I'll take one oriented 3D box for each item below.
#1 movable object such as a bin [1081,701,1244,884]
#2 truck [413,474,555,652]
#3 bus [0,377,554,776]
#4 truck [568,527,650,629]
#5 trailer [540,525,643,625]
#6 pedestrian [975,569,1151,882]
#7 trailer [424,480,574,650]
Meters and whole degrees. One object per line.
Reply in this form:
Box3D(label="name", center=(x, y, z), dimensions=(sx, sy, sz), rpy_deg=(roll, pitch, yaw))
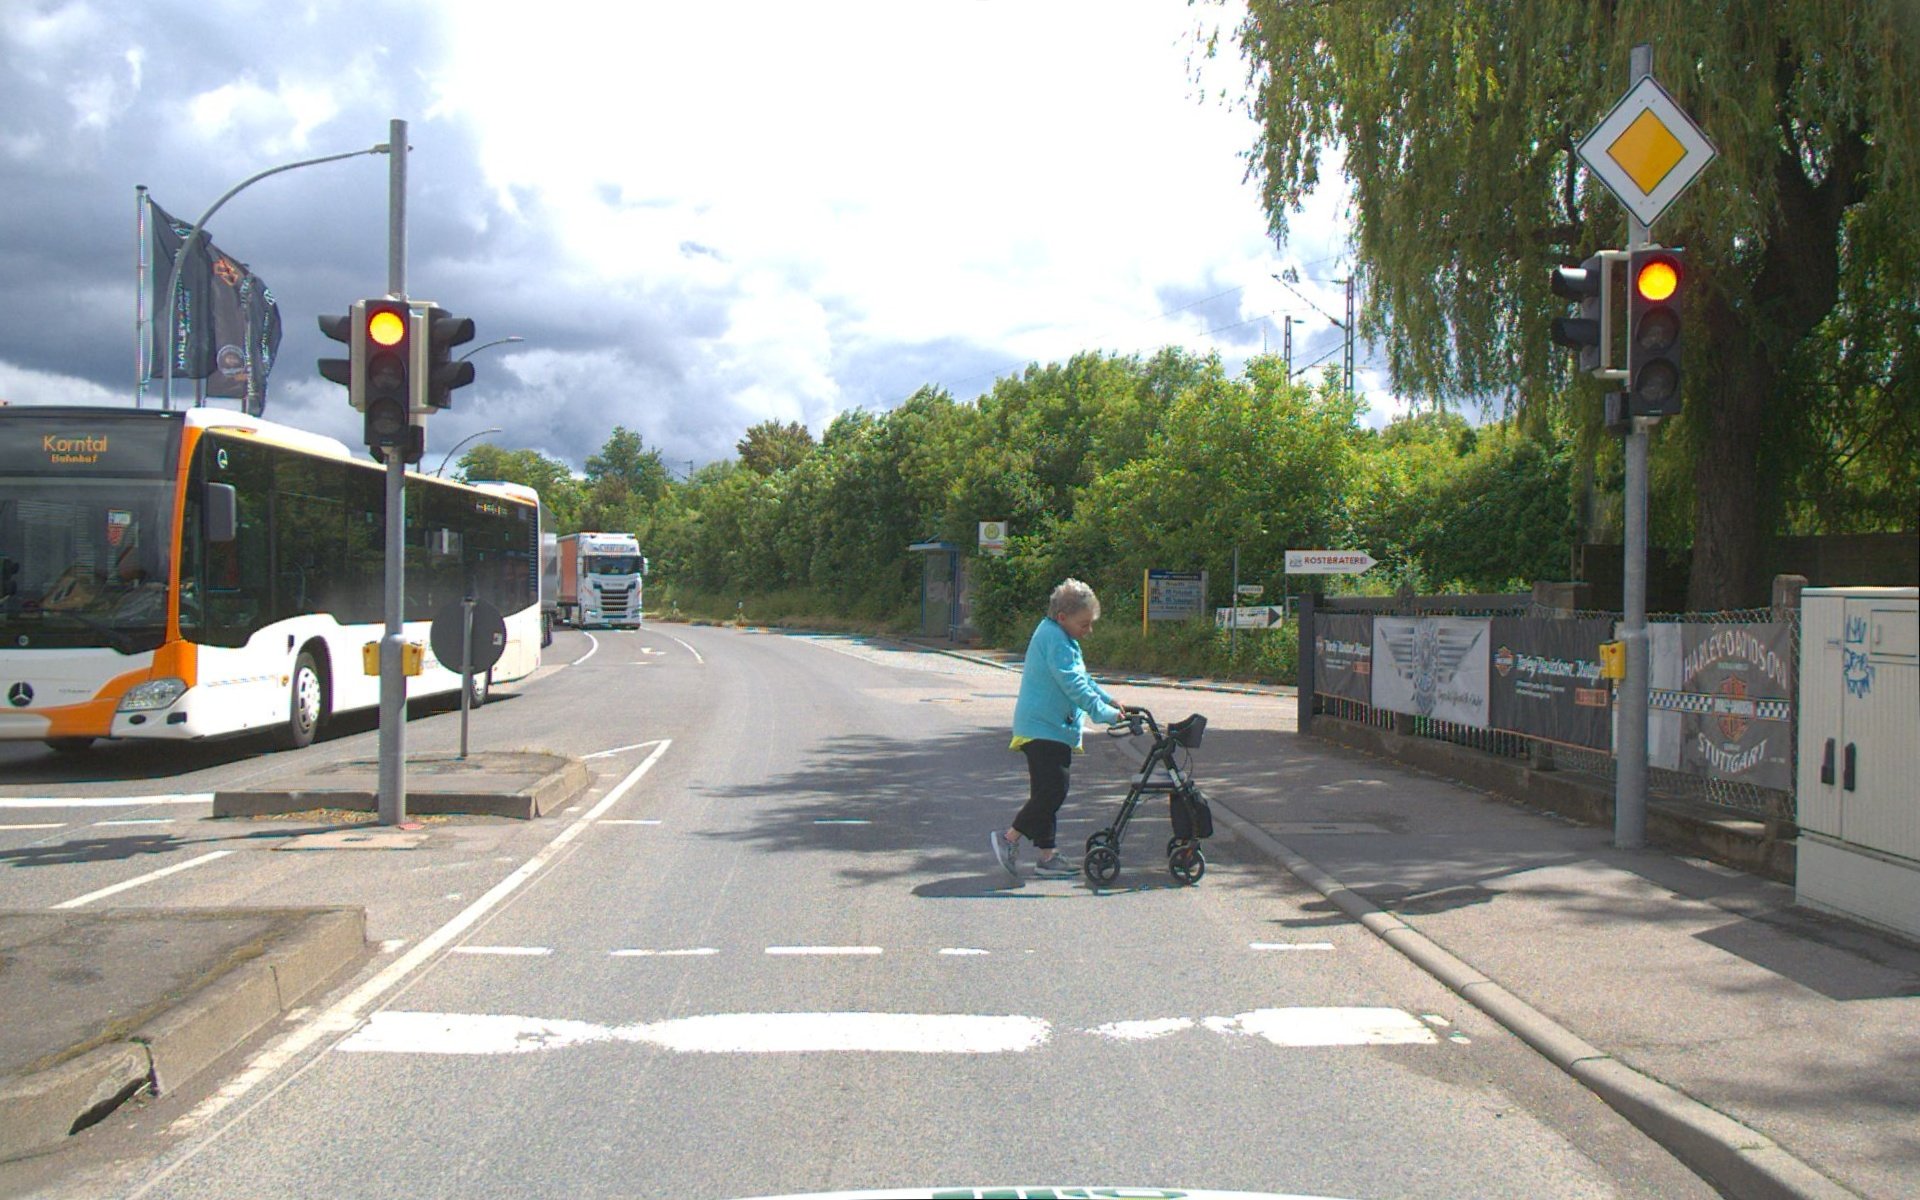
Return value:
Box3D(label="movable object such as a bin", center=(1.057, 0.999, 8.738), dimensions=(0.731, 0.887, 0.670), rpy_deg=(1, 0, -4))
Box3D(label="truck", center=(-11.946, -0.844, 41.988), dimensions=(2.748, 4.124, 6.484), rpy_deg=(1, 0, -10))
Box3D(label="bus", center=(-7.396, -0.159, 18.919), dimensions=(2.663, 3.084, 12.263), rpy_deg=(0, 0, -1))
Box3D(label="truck", center=(-15.161, -0.914, 71.280), dimensions=(2.731, 4.191, 4.956), rpy_deg=(1, 0, -20))
Box3D(label="trailer", center=(-17.557, -1.054, 77.867), dimensions=(2.730, 4.217, 15.259), rpy_deg=(1, 0, -20))
Box3D(label="pedestrian", center=(0.525, 0.638, 8.712), dimensions=(0.822, 1.570, 0.733), rpy_deg=(1, -1, -4))
Box3D(label="trailer", center=(-13.121, -0.838, 48.379), dimensions=(2.748, 4.124, 15.517), rpy_deg=(1, 0, -10))
